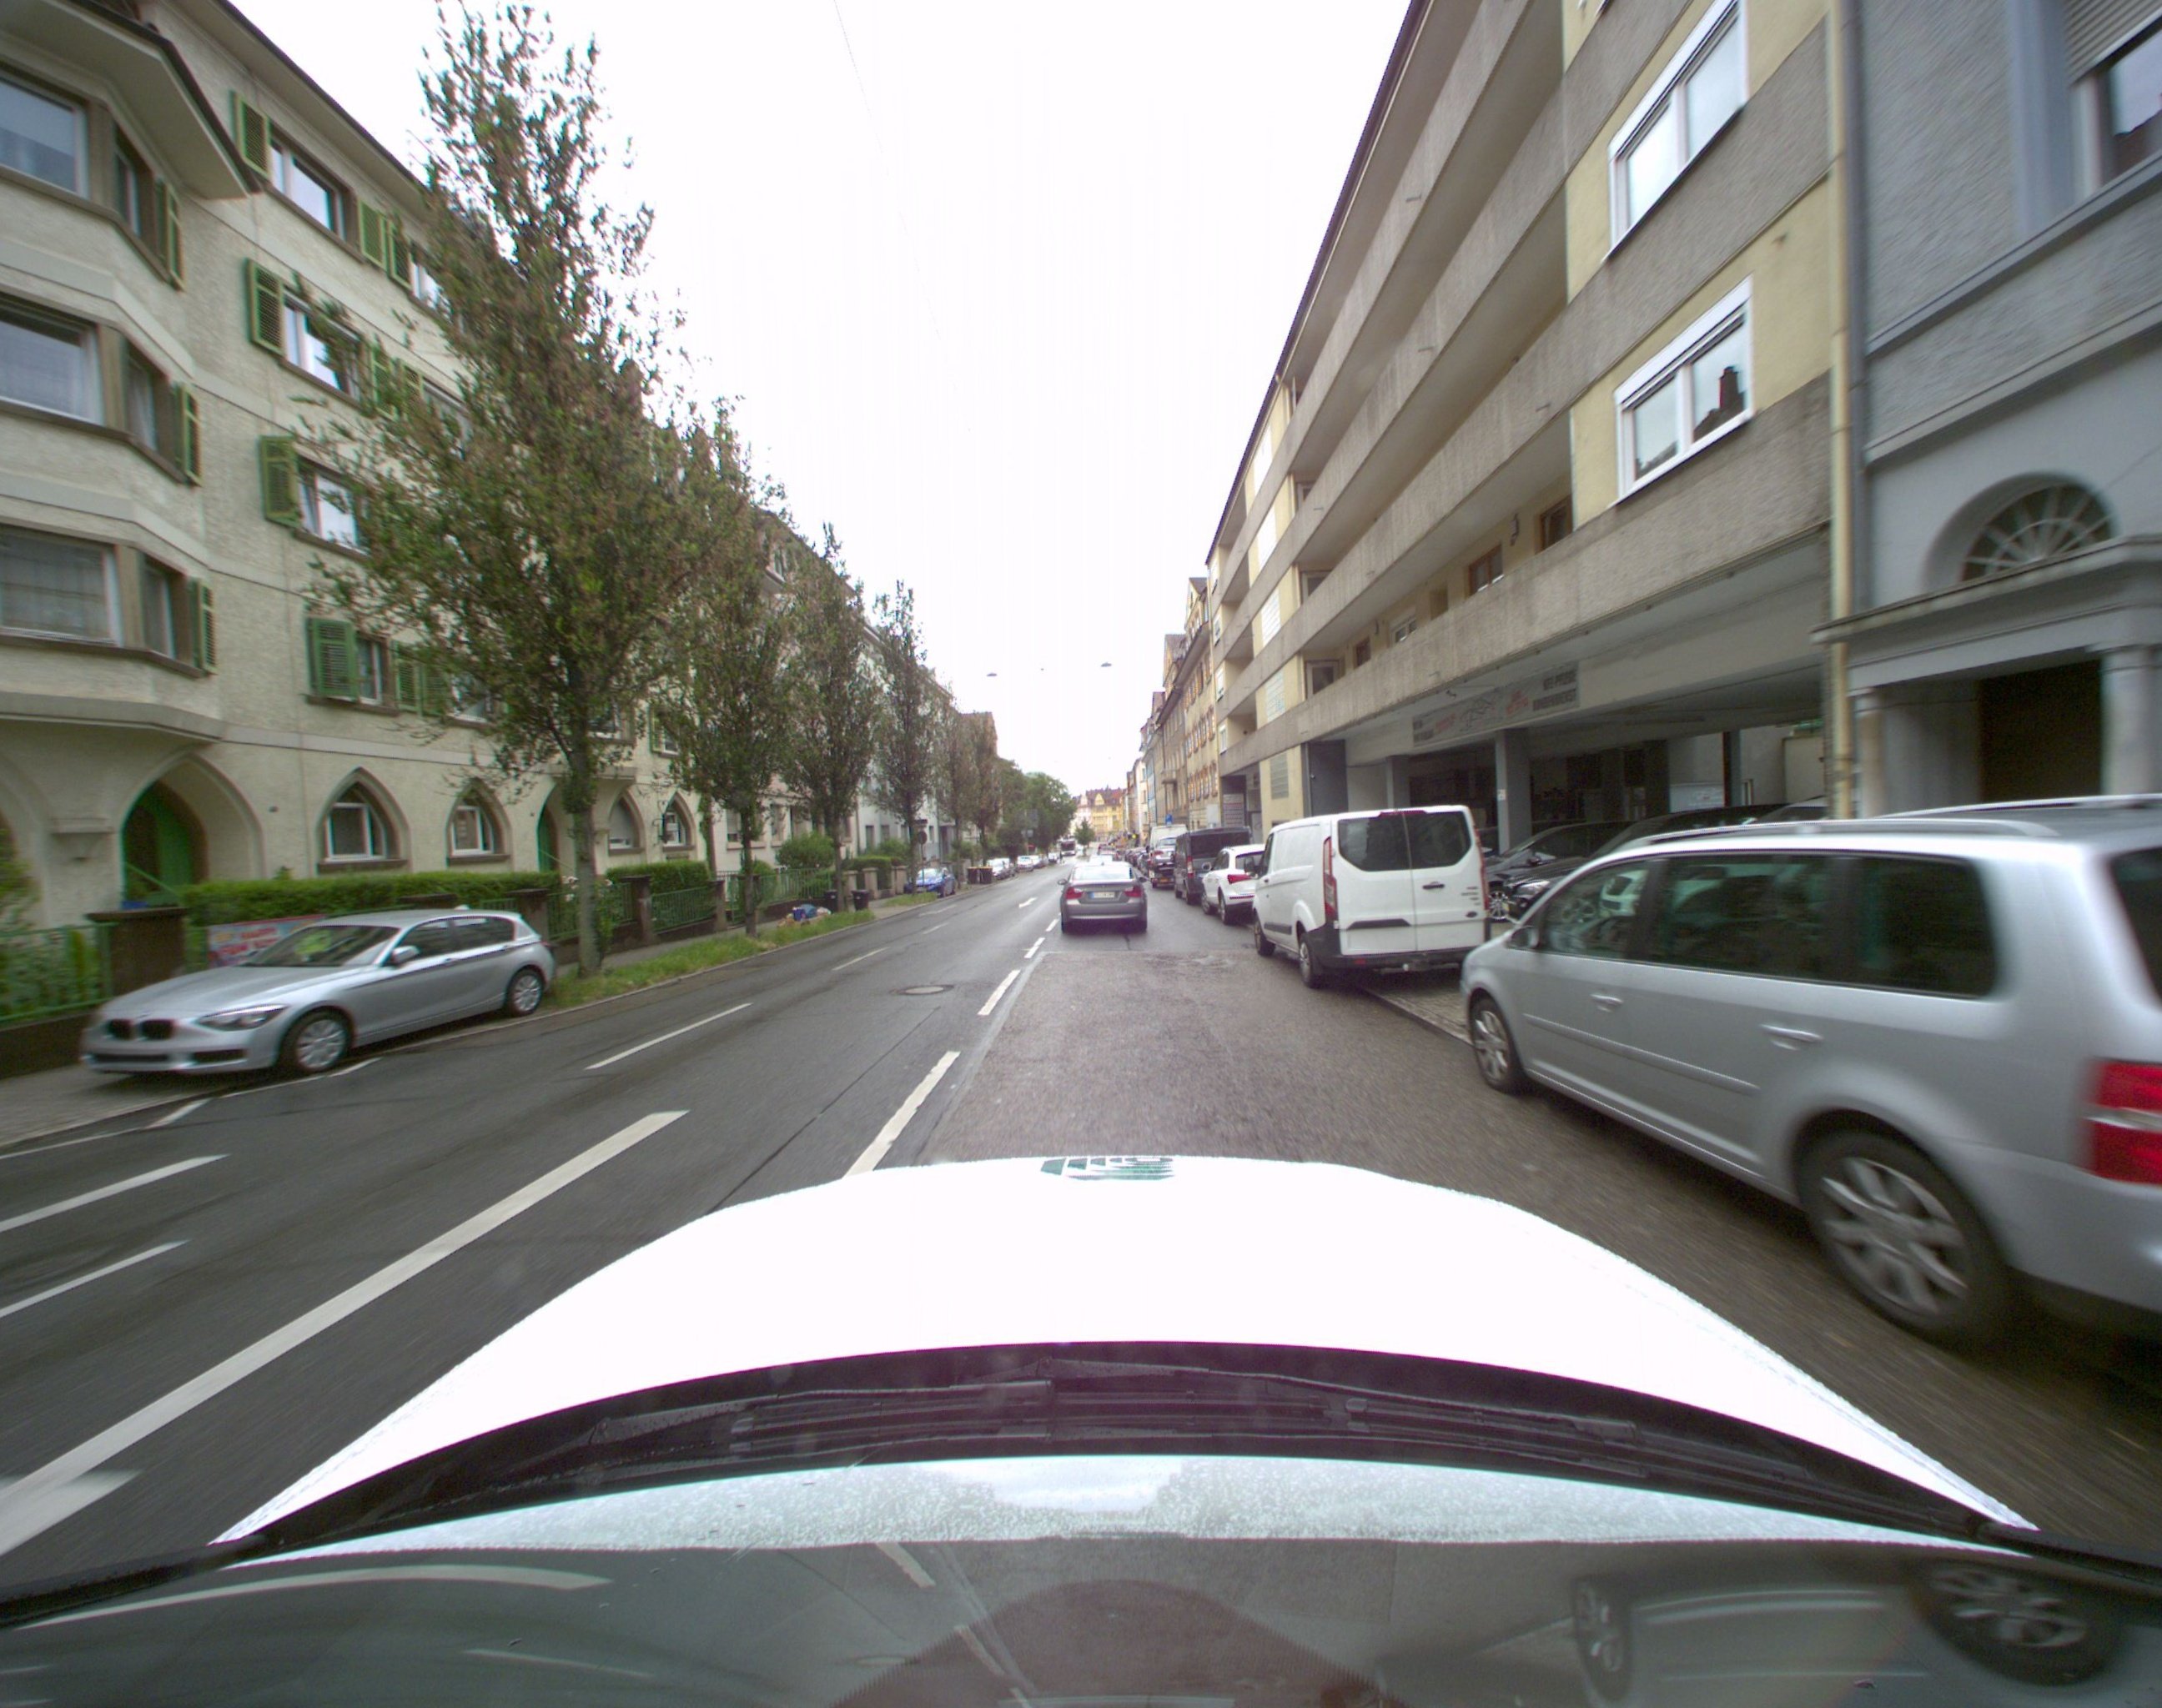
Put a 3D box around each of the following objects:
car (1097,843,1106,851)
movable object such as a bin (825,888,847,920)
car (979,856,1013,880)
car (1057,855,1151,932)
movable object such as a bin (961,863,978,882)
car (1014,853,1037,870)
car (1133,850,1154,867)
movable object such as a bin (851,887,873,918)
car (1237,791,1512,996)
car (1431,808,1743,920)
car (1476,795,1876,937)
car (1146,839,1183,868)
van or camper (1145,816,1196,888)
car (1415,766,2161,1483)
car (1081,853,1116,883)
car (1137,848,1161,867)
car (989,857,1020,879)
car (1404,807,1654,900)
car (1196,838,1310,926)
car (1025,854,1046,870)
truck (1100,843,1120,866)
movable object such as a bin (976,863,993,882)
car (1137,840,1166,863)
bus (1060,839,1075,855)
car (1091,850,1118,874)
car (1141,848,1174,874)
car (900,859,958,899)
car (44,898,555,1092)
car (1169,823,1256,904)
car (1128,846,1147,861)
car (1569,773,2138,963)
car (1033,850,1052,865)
[{"bbox_3d":[4.484,-1.477,177.696,1.691,1.483,3.794,-4,0,1],"label":"car"},{"bbox_3d":[-7.648,1.561,25.442,0.575,0.912,0.637,-4,0,-13],"label":"movable object such as a bin"},{"bbox_3d":[-6.122,0.966,59.084,1.820,1.523,3.739,-5,0,3],"label":"car"},{"bbox_3d":[0.531,0.759,17.385,1.762,1.428,3.743,-1,0,3],"label":"car"},{"bbox_3d":[-7.081,1.181,51.608,0.898,1.168,0.895,-2,0,1],"label":"movable object such as a bin"},{"bbox_3d":[-5.392,0.698,79.597,1.684,1.523,3.739,-5,0,3],"label":"car"},{"bbox_3d":[5.647,0.382,74.010,1.691,1.483,3.976,-1,0,1],"label":"car"},{"bbox_3d":[-6.844,1.515,25.458,0.575,0.912,0.637,-4,0,-13],"label":"movable object such as a bin"},{"bbox_3d":[3.494,0.407,10.790,1.974,2.007,4.627,-4,0,2],"label":"car"},{"bbox_3d":[8.524,0.164,14.116,4.256,1.640,1.673,-3,2,14],"label":"car"},{"bbox_3d":[8.359,0.167,11.912,4.294,1.726,1.917,-3,2,14],"label":"car"},{"bbox_3d":[4.560,-0.008,44.837,1.691,1.483,3.794,-1,0,1],"label":"car"},{"bbox_3d":[3.900,-0.117,35.969,2.023,2.868,6.895,0,0,5],"label":"van or camper"},{"bbox_3d":[3.389,0.567,4.005,1.720,1.670,4.290,-5,0,2],"label":"car"},{"bbox_3d":[0.929,0.702,41.467,1.675,1.428,3.743,-1,0,3],"label":"car"},{"bbox_3d":[5.486,0.278,65.843,1.691,1.483,3.976,-1,0,1],"label":"car"},{"bbox_3d":[-6.011,1.059,64.590,1.820,1.523,3.739,-5,0,3],"label":"car"},{"bbox_3d":[9.205,-0.018,17.087,4.256,1.640,1.673,-3,2,14],"label":"car"},{"bbox_3d":[3.770,0.567,18.608,1.719,1.670,4.290,-4,0,2],"label":"car"},{"bbox_3d":[-4.828,0.817,86.831,1.684,1.523,3.739,-5,0,3],"label":"car"},{"bbox_3d":[3.165,0.060,89.163,2.025,2.412,4.827,-1,0,1],"label":"truck"},{"bbox_3d":[-6.113,1.182,51.590,0.931,1.168,0.910,-2,0,1],"label":"movable object such as a bin"},{"bbox_3d":[4.784,-0.166,55.423,1.691,1.483,3.976,-1,0,1],"label":"car"},{"bbox_3d":[-2.747,-1.311,166.644,2.659,3.024,7.673,-4,0,2],"label":"bus"},{"bbox_3d":[1.571,0.540,54.702,1.691,1.483,3.794,-1,0,1],"label":"car"},{"bbox_3d":[4.670,0.431,49.863,1.691,1.483,3.976,-1,0,1],"label":"car"},{"bbox_3d":[-6.967,1.103,37.703,1.761,1.593,4.000,-5,0,0],"label":"car"},{"bbox_3d":[-8.091,1.338,9.072,1.719,1.484,3.991,-1,0,3],"label":"car"},{"bbox_3d":[3.984,0.266,25.448,1.974,2.165,4.752,-4,0,2],"label":"car"},{"bbox_3d":[5.824,-0.049,83.830,1.691,1.483,3.976,-1,0,1],"label":"car"},{"bbox_3d":[8.342,0.183,9.389,4.290,1.804,2.017,-3,2,19],"label":"car"},{"bbox_3d":[-4.386,0.362,92.928,1.684,1.523,3.739,-5,0,3],"label":"car"}]
